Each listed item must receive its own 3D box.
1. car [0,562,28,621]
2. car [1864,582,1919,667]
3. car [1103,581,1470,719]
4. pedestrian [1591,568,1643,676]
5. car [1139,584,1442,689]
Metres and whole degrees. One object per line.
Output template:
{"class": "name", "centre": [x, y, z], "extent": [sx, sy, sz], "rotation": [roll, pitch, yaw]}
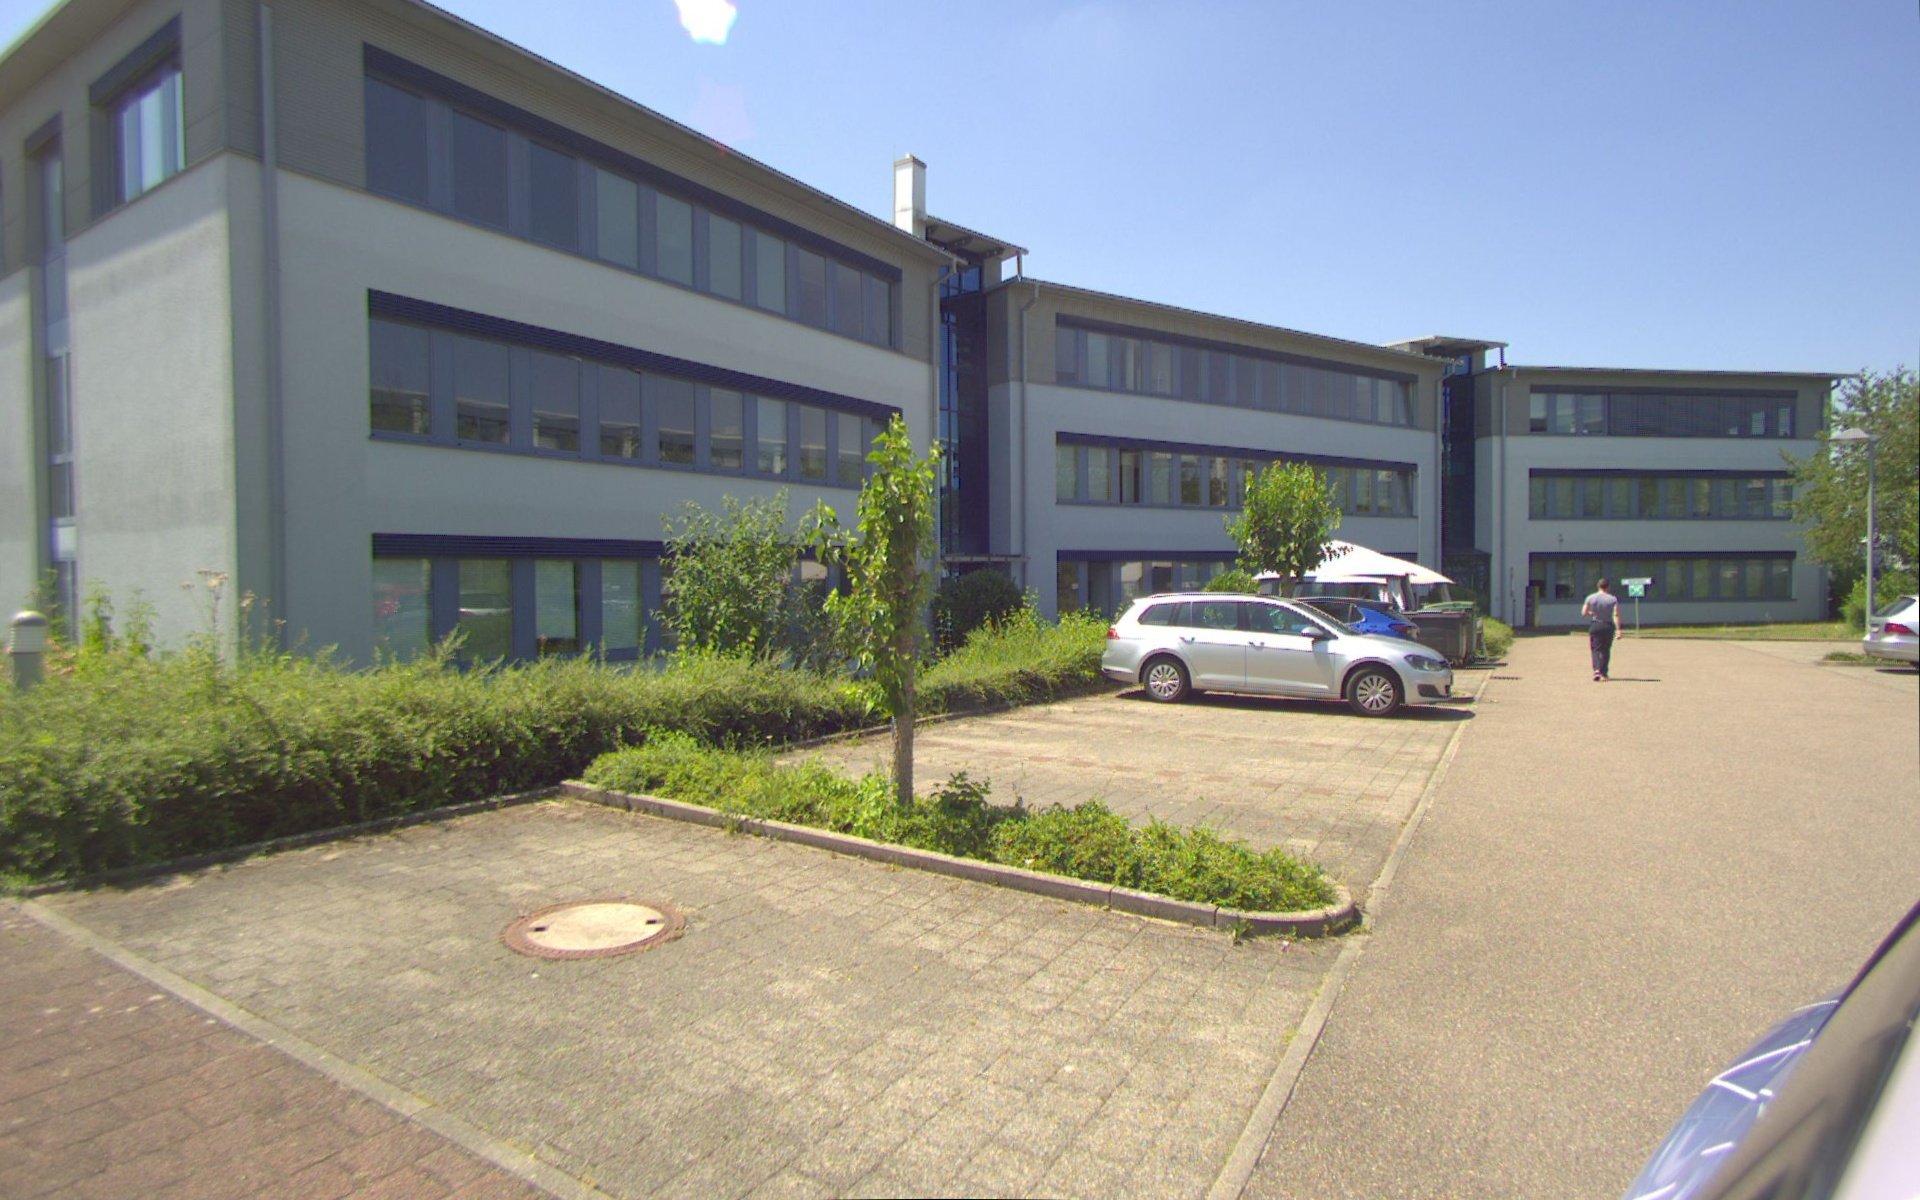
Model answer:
{"class": "car", "centre": [-29.075, -0.292, 29.321], "extent": [4.301, 1.639, 1.807], "rotation": [2, 2, 29]}
{"class": "car", "centre": [18.711, 0.435, 17.728], "extent": [4.055, 1.502, 1.719], "rotation": [1, 0, 33]}
{"class": "car", "centre": [4.302, 0.542, 13.507], "extent": [4.390, 1.539, 1.837], "rotation": [1, 1, 30]}
{"class": "pedestrian", "centre": [11.129, 0.361, 17.148], "extent": [0.693, 1.779, 0.768], "rotation": [-1, 0, 33]}
{"class": "car", "centre": [5.491, 0.510, 16.992], "extent": [4.574, 1.512, 1.837], "rotation": [1, 1, 30]}
